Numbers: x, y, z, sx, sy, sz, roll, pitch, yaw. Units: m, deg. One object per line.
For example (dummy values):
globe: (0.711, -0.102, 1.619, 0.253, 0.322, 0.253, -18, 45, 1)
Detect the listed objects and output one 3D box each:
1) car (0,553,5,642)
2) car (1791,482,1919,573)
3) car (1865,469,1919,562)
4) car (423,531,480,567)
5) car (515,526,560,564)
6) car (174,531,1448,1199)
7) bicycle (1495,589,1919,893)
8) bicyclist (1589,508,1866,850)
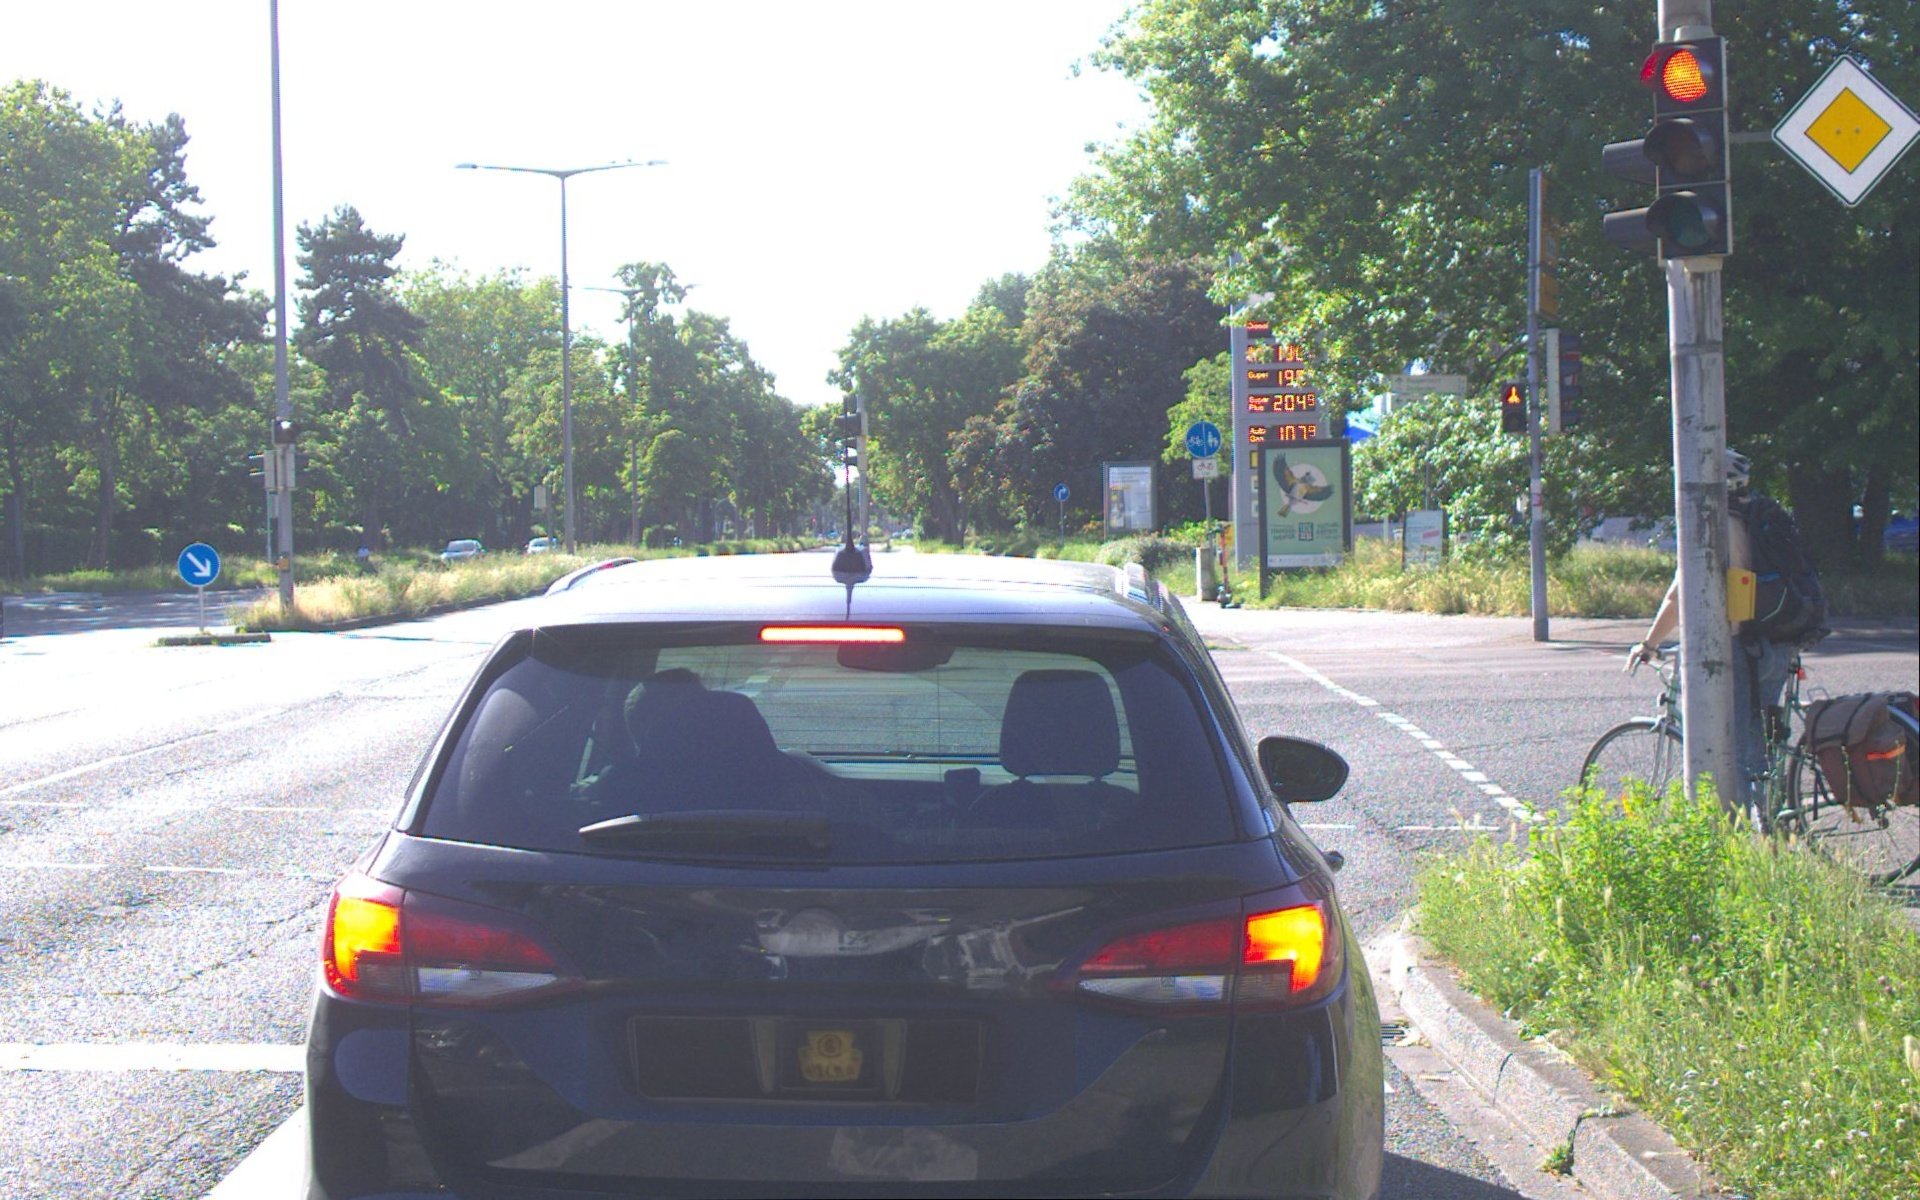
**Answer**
car: (-16.688, 0.016, 54.810, 1.776, 1.458, 4.165, -1, 1, -1)
car: (16.620, -1.292, 59.813, 3.887, 1.512, 1.746, -2, 1, -23)
car: (17.096, -1.434, 56.727, 3.887, 1.512, 1.746, -2, 1, -23)
car: (-22.757, -2.276, 154.068, 1.993, 1.525, 4.000, -2, 1, -1)
car: (-22.967, -3.018, 187.028, 1.993, 2.007, 4.000, -2, 1, -1)
car: (-0.231, 0.627, 6.858, 1.756, 1.490, 4.207, 0, 1, -1)
bicycle: (2.981, 0.542, 13.344, 0.536, 1.094, 1.775, -3, 0, -44)
bicyclist: (2.973, 0.305, 13.342, 0.536, 1.272, 0.829, -3, 0, -44)
